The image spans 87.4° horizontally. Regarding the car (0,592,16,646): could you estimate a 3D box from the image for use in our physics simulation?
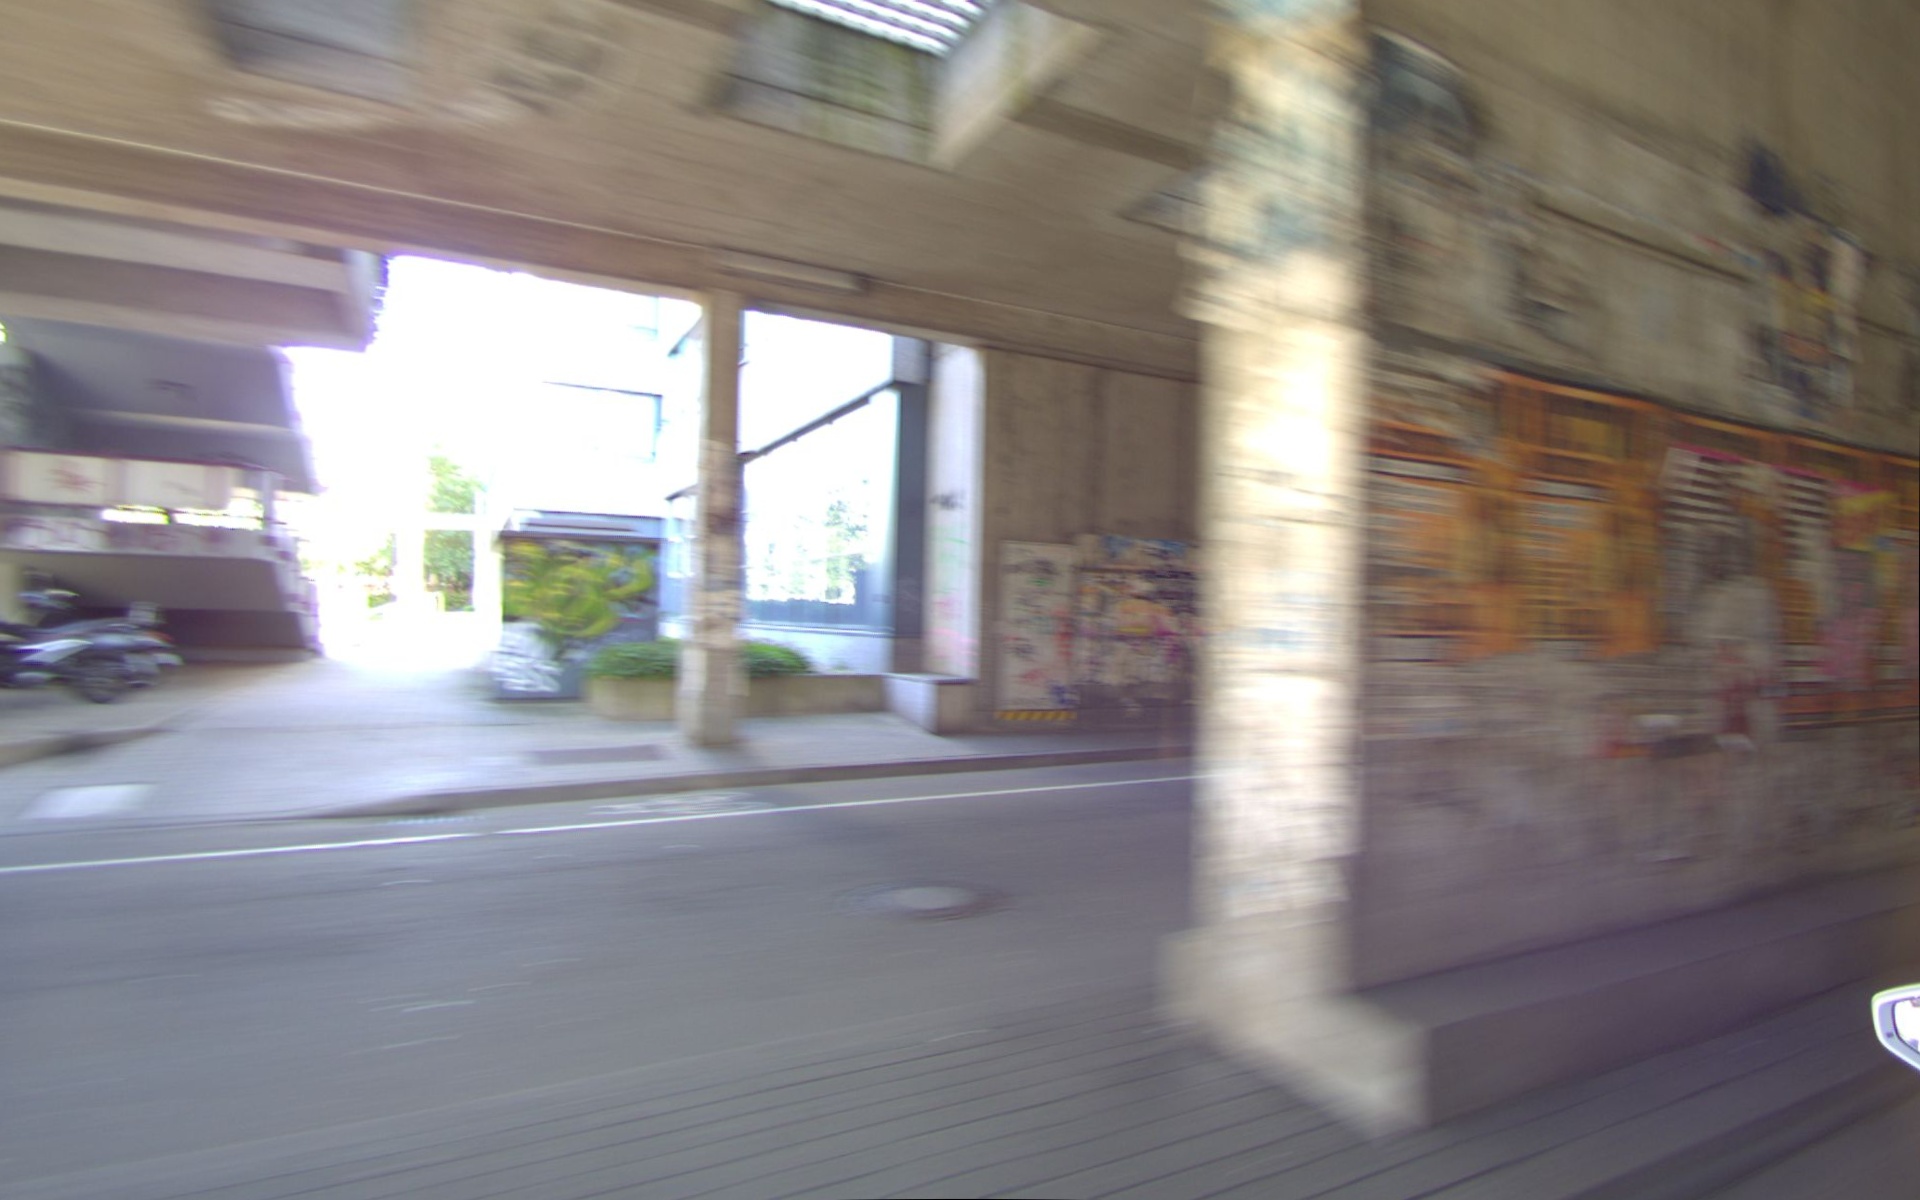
[{"bbox_3d":[-34.942,0.630,34.953,1.976,1.907,4.206,2,-2,-29],"label":"car"}]

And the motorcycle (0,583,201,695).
[{"bbox_3d":[-10.468,0.470,12.125,1.969,1.280,0.675,2,-1,-30],"label":"motorcycle"}]

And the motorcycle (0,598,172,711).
[{"bbox_3d":[-9.506,0.551,10.322,2.126,1.125,0.523,2,-1,-31],"label":"motorcycle"}]
